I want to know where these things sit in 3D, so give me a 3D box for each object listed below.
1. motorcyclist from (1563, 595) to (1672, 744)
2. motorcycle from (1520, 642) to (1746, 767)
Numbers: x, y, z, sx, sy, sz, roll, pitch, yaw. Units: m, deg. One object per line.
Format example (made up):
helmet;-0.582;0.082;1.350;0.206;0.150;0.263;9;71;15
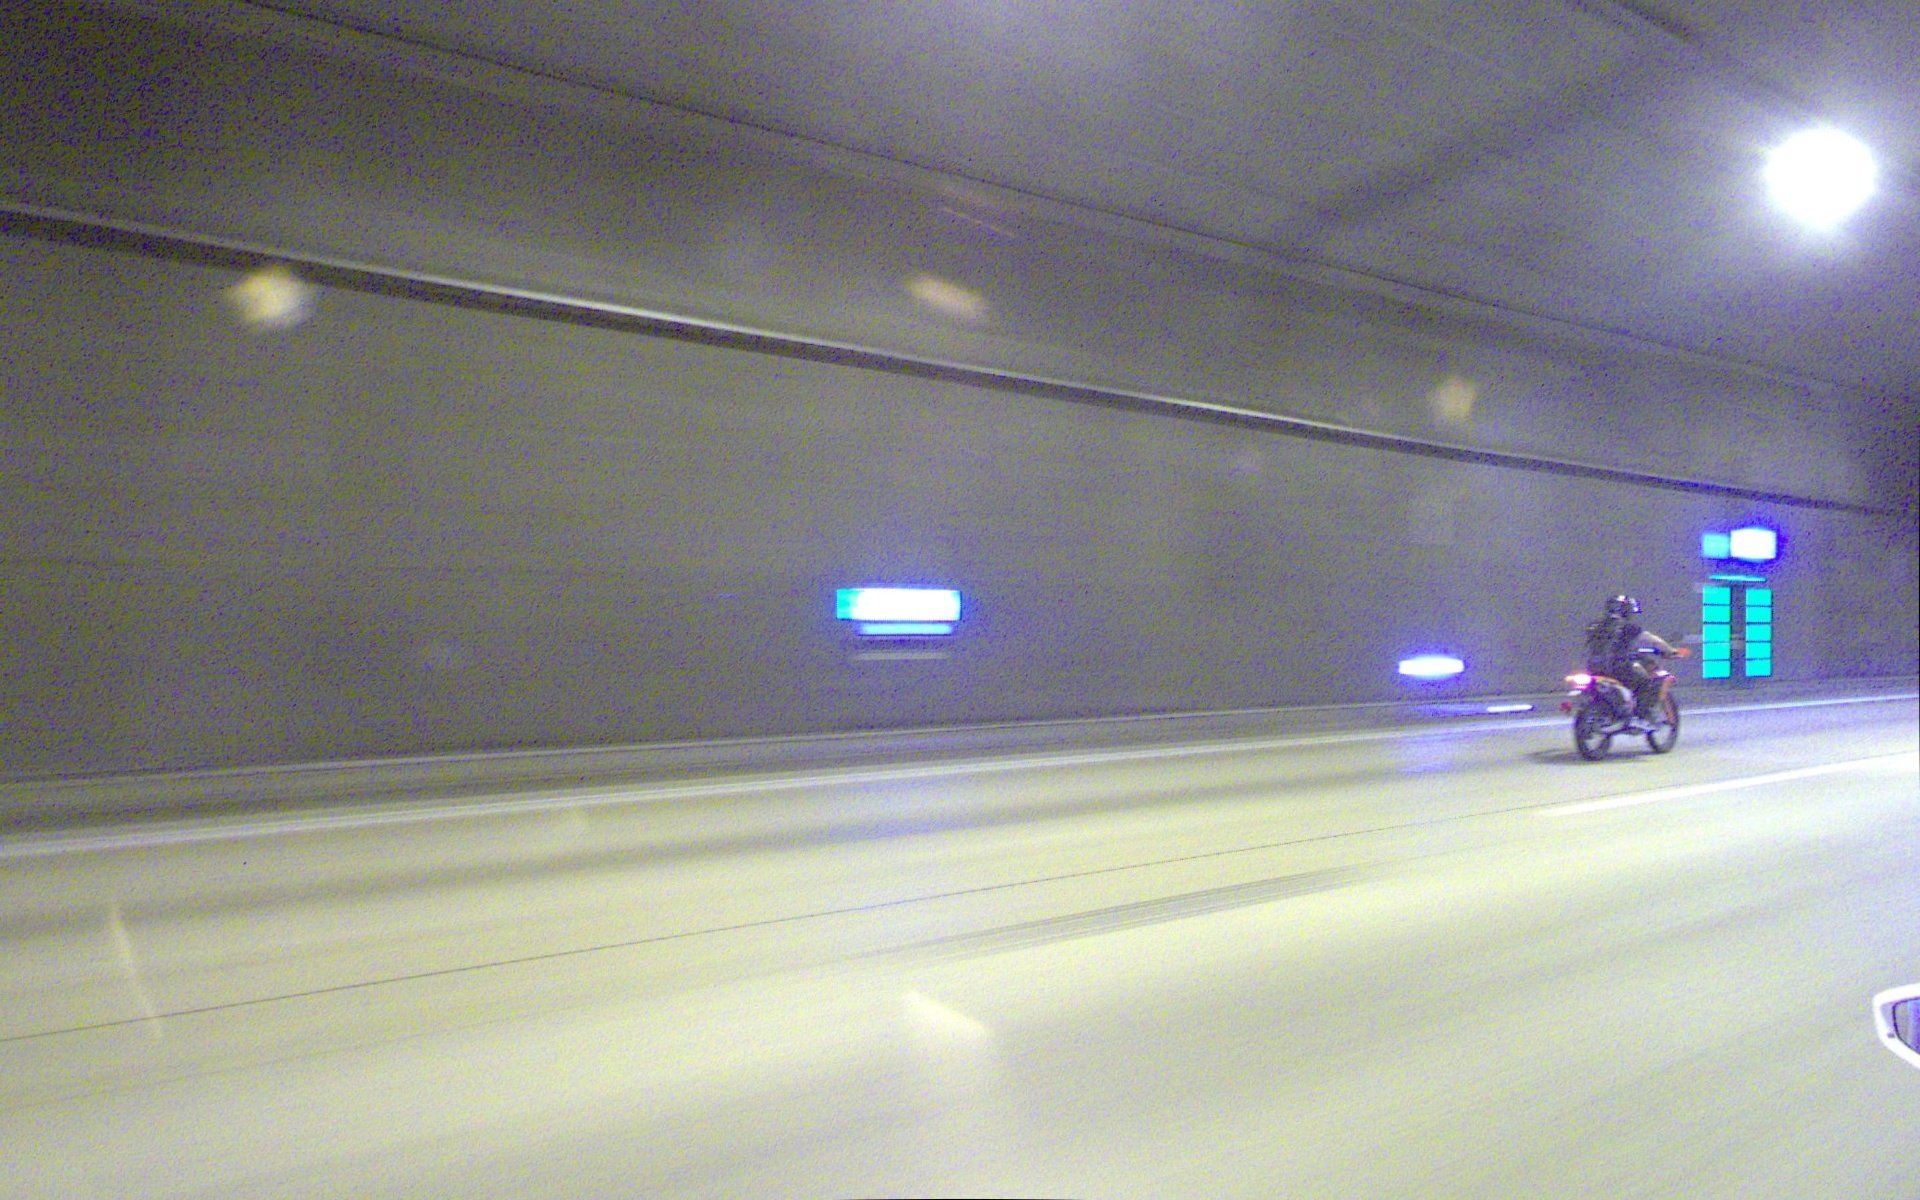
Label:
motorcyclist;6.972;0.714;10.653;0.880;1.509;0.624;1;-1;-29
motorcycle;7.254;1.065;10.805;2.398;1.173;1.048;2;0;-29
